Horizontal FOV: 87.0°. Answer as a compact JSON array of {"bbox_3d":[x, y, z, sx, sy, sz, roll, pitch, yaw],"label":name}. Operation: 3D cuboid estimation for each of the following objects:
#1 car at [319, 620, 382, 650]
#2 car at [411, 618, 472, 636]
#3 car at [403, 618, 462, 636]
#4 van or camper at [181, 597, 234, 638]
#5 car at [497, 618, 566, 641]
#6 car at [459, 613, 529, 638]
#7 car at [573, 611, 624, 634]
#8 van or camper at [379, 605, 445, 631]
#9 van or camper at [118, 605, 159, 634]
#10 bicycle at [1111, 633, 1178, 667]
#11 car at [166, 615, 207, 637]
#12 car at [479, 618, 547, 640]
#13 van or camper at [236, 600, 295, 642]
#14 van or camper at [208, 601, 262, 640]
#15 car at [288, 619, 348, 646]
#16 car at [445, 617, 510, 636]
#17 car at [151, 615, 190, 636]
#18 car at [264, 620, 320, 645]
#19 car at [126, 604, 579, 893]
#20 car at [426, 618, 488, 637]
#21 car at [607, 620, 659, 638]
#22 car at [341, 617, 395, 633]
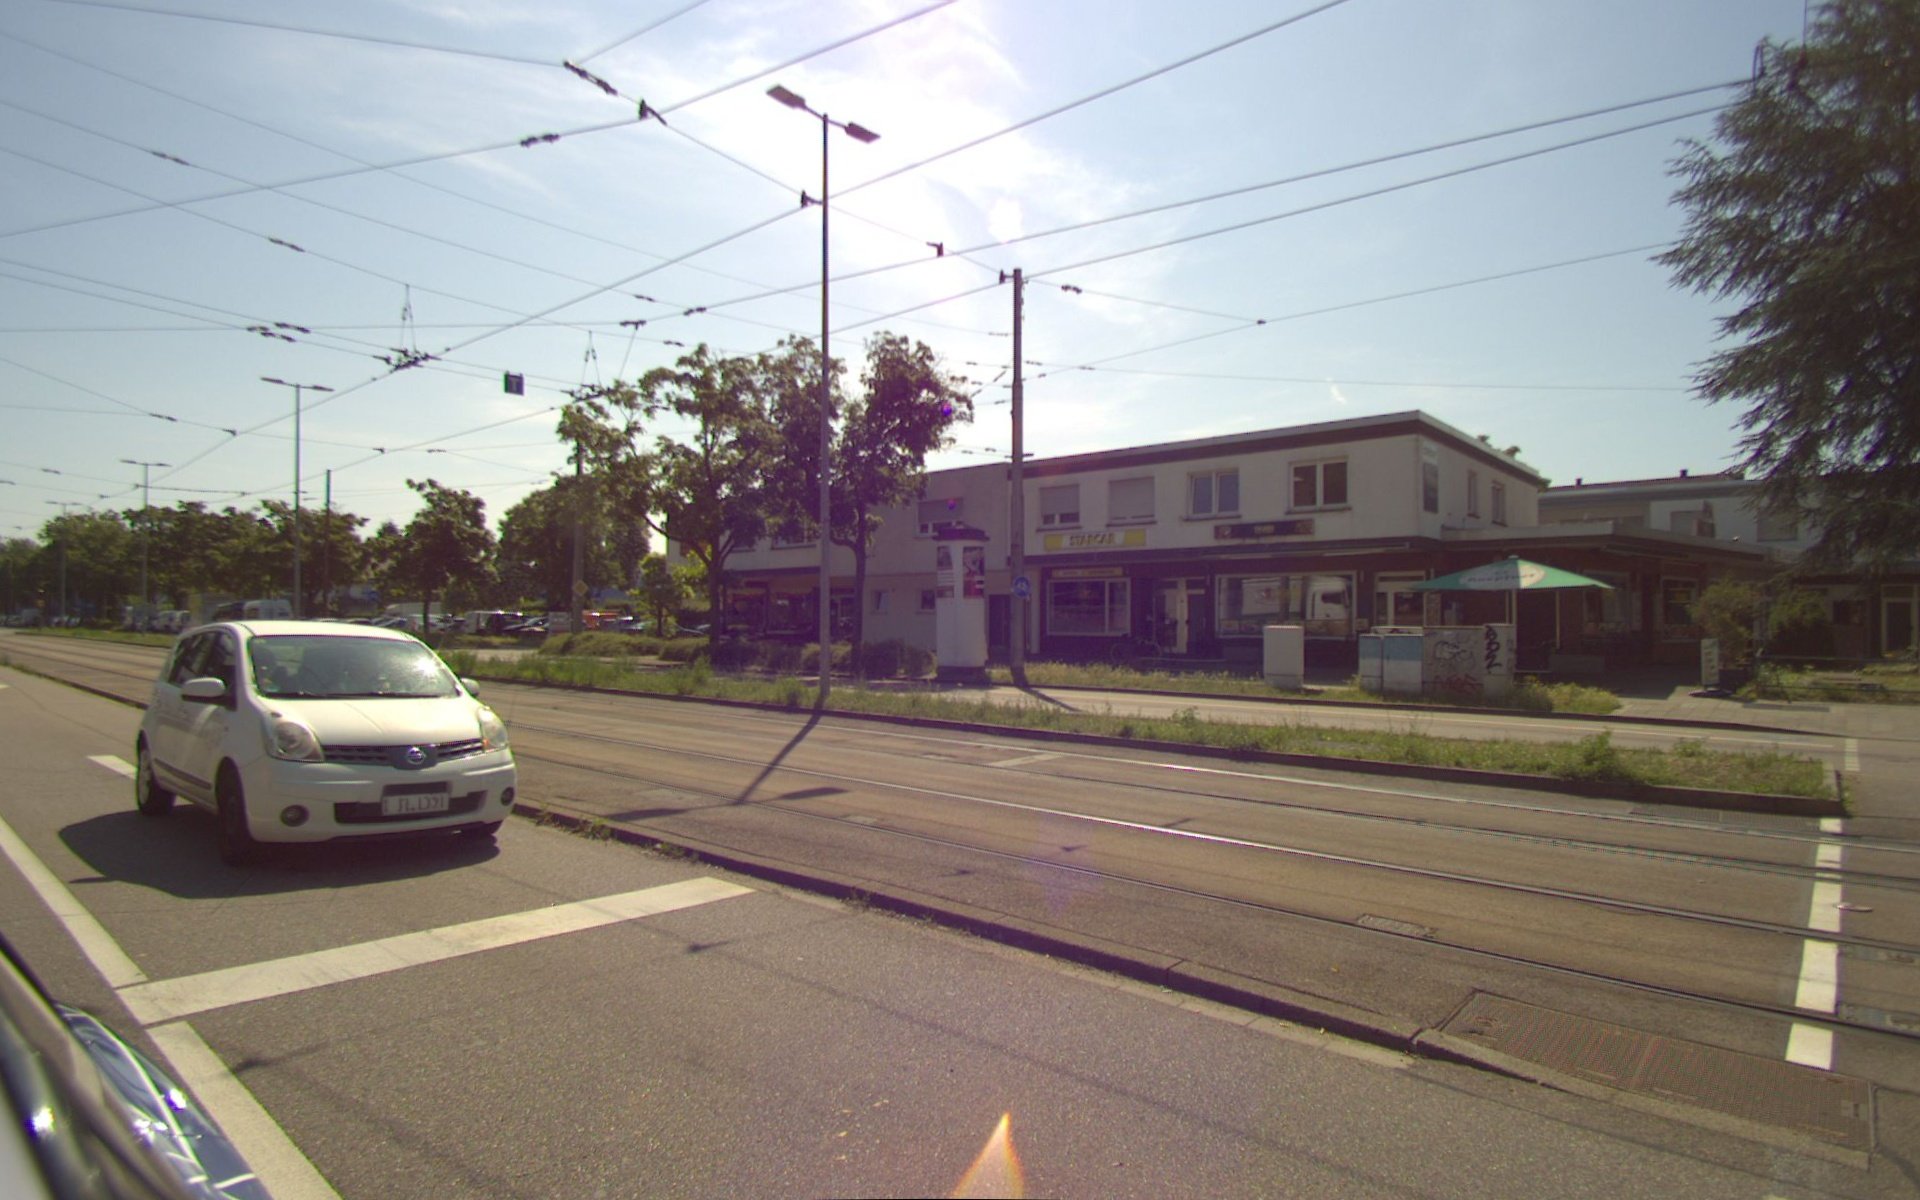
[{"bbox_3d":[-33.612,1.881,55.774,4.285,1.506,1.867,-1,1,43],"label":"car"},{"bbox_3d":[-38.159,2.008,74.543,1.711,1.291,3.578,-1,-2,40],"label":"car"},{"bbox_3d":[-39.728,2.030,76.255,1.711,1.291,3.578,-1,-2,40],"label":"car"},{"bbox_3d":[-56.764,1.307,76.321,5.279,3.008,2.100,-1,-2,41],"label":"van or camper"},{"bbox_3d":[-26.748,1.842,63.217,1.711,1.372,3.578,-1,-2,40],"label":"car"},{"bbox_3d":[-30.676,1.686,66.644,1.949,1.581,3.702,-1,-2,40],"label":"car"},{"bbox_3d":[-29.626,1.853,83.006,1.711,1.791,3.578,-1,-2,40],"label":"car"},{"bbox_3d":[-60.801,2.006,112.284,2.300,2.751,5.999,-1,-2,44],"label":"van or camper"},{"bbox_3d":[-77.341,1.822,95.304,5.451,2.639,2.086,0,-3,42],"label":"van or camper"},{"bbox_3d":[5.672,1.516,31.154,1.911,0.990,0.750,-1,-2,42],"label":"bicycle"},{"bbox_3d":[-62.927,2.079,82.329,4.230,1.747,1.868,-1,-2,41],"label":"car"},{"bbox_3d":[-28.731,1.864,65.113,1.711,1.372,3.578,-1,-2,40],"label":"car"},{"bbox_3d":[-45.584,1.403,66.399,4.837,2.652,2.013,-1,-2,41],"label":"van or camper"},{"bbox_3d":[-50.905,1.438,71.029,4.837,2.652,2.013,-1,-2,41],"label":"van or camper"},{"bbox_3d":[-37.744,1.885,59.448,4.283,1.572,1.868,-1,-2,41],"label":"car"},{"bbox_3d":[-32.469,1.780,68.123,1.711,1.294,3.578,-1,-2,40],"label":"car"},{"bbox_3d":[-67.949,2.157,87.122,4.230,1.781,1.868,-1,-2,41],"label":"car"},{"bbox_3d":[-41.824,1.989,63.288,4.230,1.506,1.868,-1,-2,41],"label":"car"},{"bbox_3d":[-4.691,0.870,7.558,4.066,1.573,1.747,-1,-3,42],"label":"car"},{"bbox_3d":[-36.080,1.981,72.609,1.811,1.291,3.578,-1,-2,40],"label":"car"},{"bbox_3d":[-25.760,2.269,79.785,1.711,1.372,3.578,-1,-2,40],"label":"car"},{"bbox_3d":[-50.301,2.120,86.005,1.711,1.291,3.578,-1,-2,40],"label":"car"}]
